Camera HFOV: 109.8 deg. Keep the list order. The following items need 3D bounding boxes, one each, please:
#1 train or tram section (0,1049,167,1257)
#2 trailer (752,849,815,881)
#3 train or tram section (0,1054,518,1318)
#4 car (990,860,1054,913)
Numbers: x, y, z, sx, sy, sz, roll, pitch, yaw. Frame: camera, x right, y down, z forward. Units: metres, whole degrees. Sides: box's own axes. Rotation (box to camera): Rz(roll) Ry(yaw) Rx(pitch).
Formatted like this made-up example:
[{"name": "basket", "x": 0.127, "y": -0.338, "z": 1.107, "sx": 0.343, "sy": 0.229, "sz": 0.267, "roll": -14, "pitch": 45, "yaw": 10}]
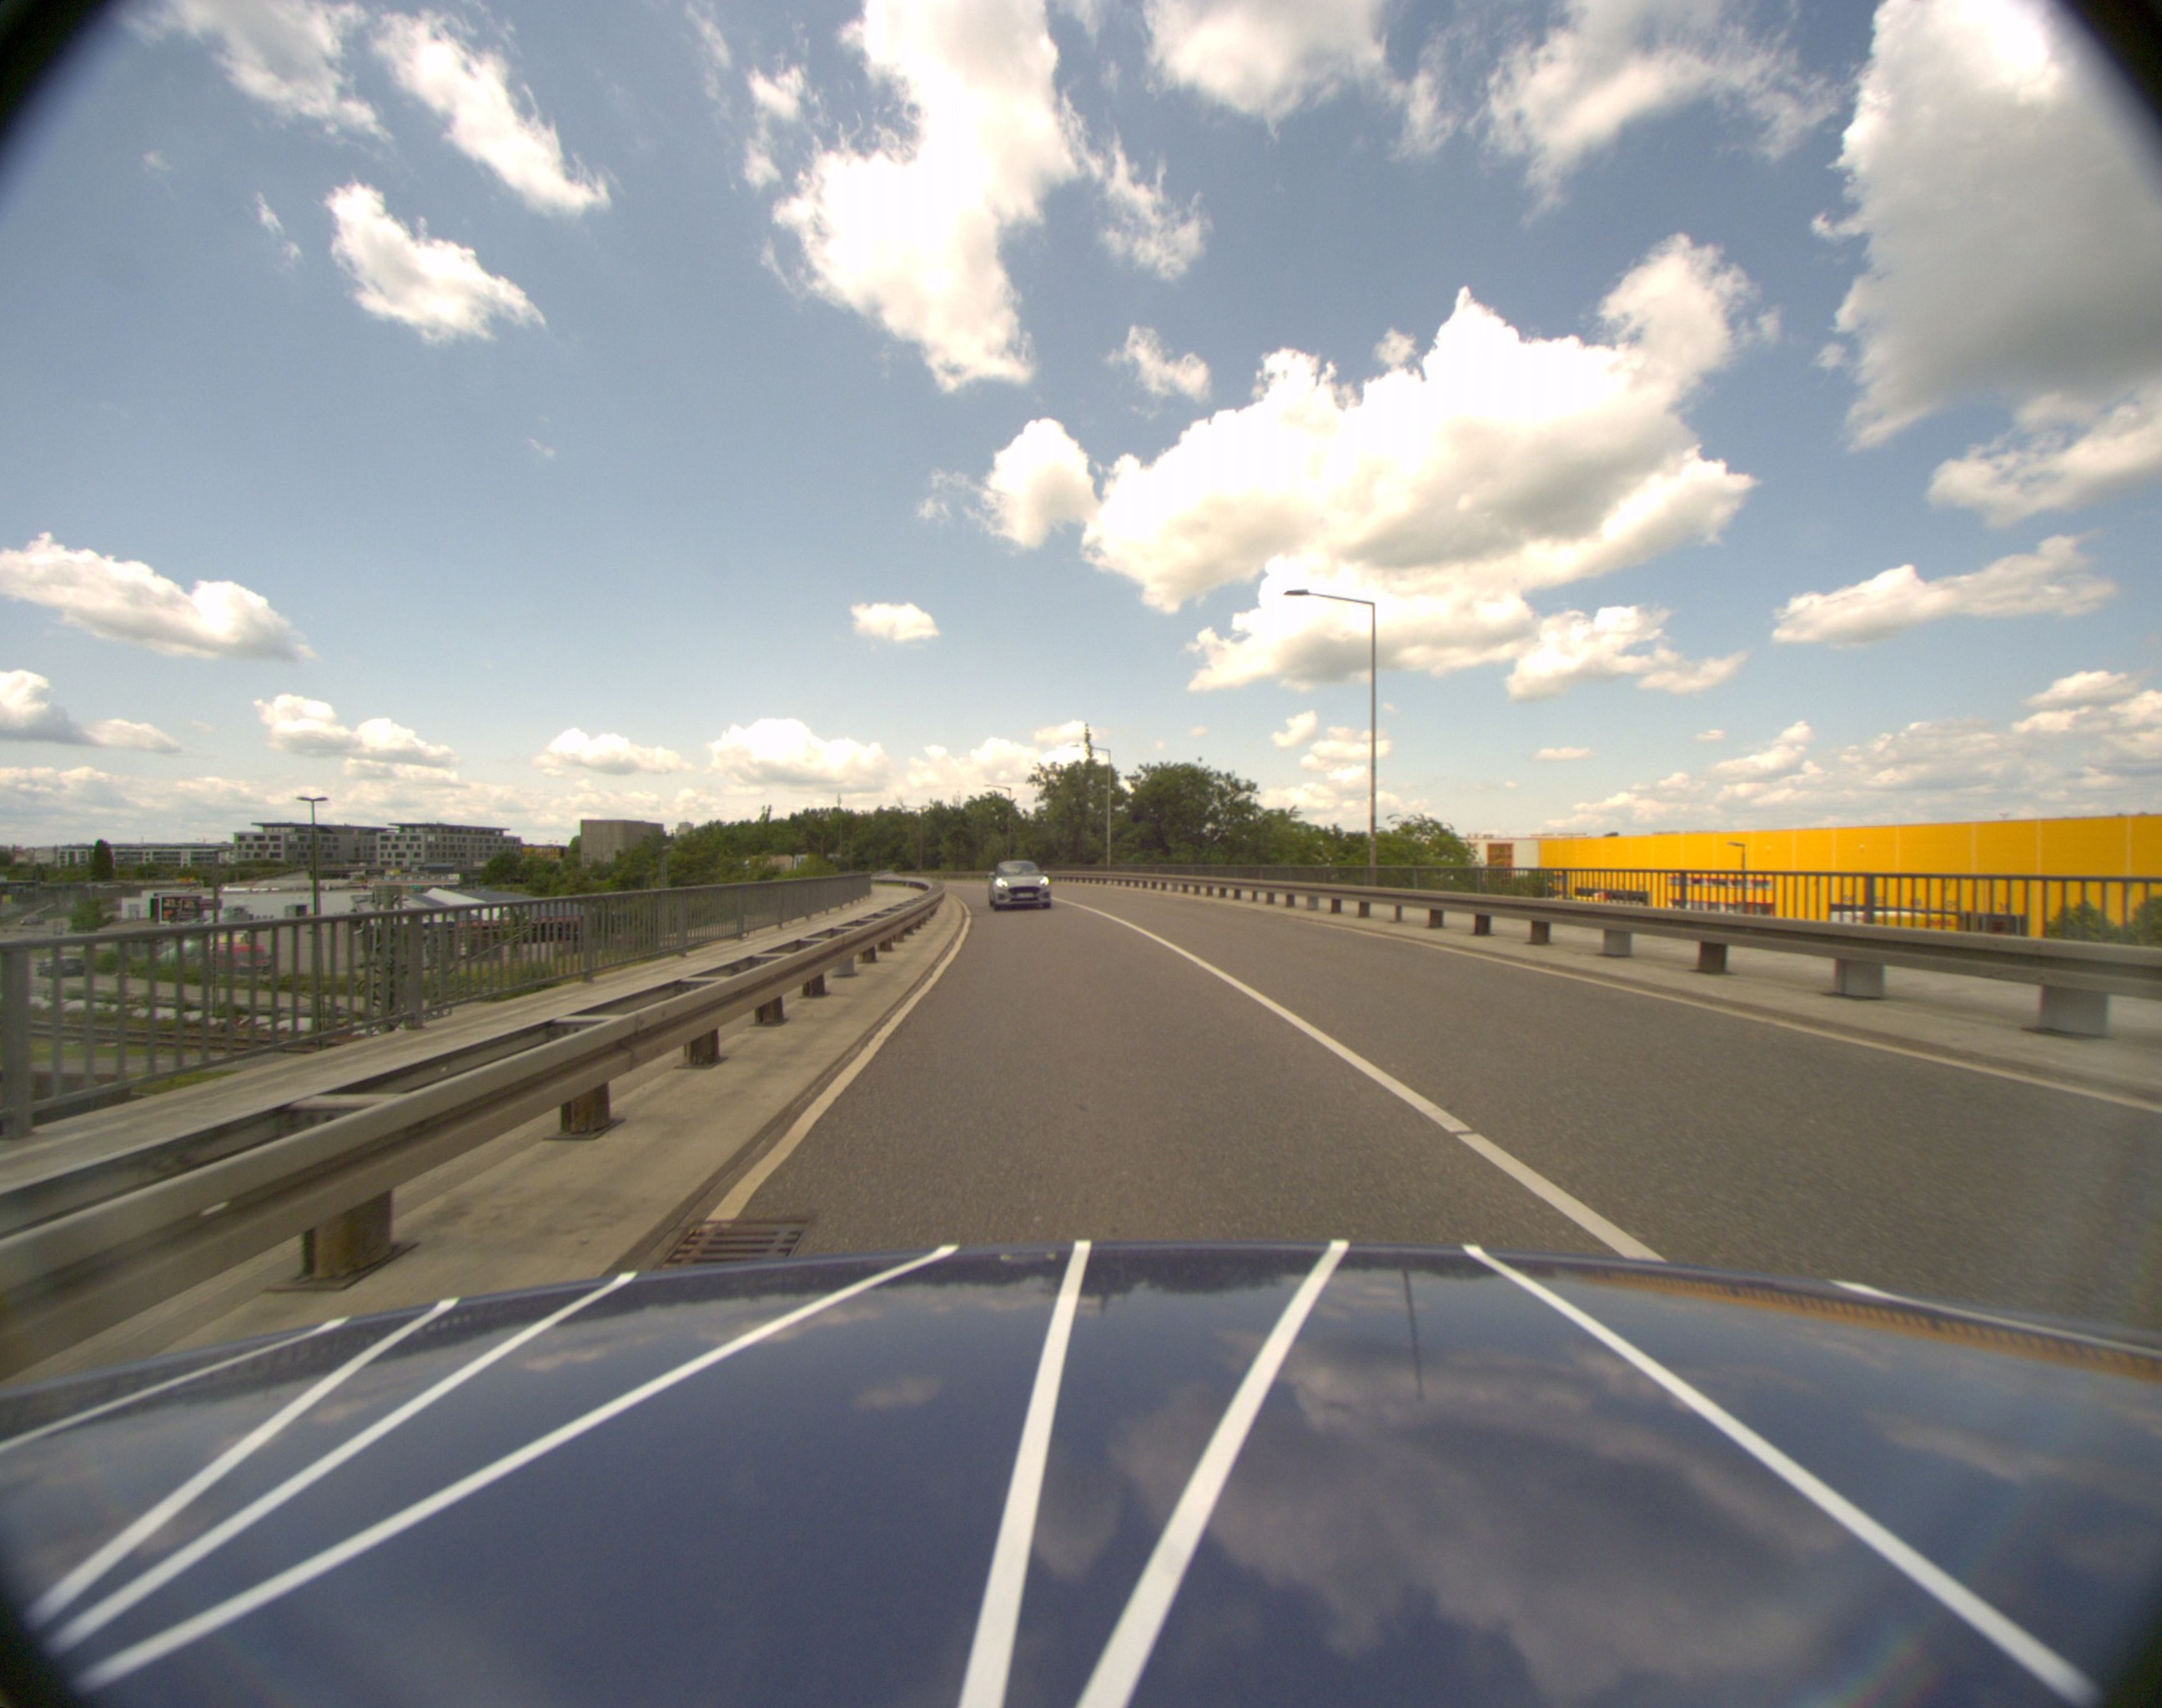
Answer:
[{"name": "train or tram section", "x": -34.913, "y": 7.922, "z": 21.354, "sx": 16.585, "sy": 4.131, "sz": 3.141, "roll": 0, "pitch": 3, "yaw": 7}, {"name": "trailer", "x": -44.067, "y": 1.669, "z": 112.143, "sx": 14.193, "sy": 4.255, "sz": 2.720, "roll": -2, "pitch": 1, "yaw": 44}, {"name": "train or tram section", "x": -20.650, "y": 7.850, "z": 19.031, "sx": 12.045, "sy": 4.131, "sz": 3.131, "roll": 0, "pitch": 3, "yaw": 12}, {"name": "car", "x": -2.039, "y": 1.006, "z": 25.181, "sx": 1.829, "sy": 1.516, "sz": 3.997, "roll": -2, "pitch": 0, "yaw": -8}]
